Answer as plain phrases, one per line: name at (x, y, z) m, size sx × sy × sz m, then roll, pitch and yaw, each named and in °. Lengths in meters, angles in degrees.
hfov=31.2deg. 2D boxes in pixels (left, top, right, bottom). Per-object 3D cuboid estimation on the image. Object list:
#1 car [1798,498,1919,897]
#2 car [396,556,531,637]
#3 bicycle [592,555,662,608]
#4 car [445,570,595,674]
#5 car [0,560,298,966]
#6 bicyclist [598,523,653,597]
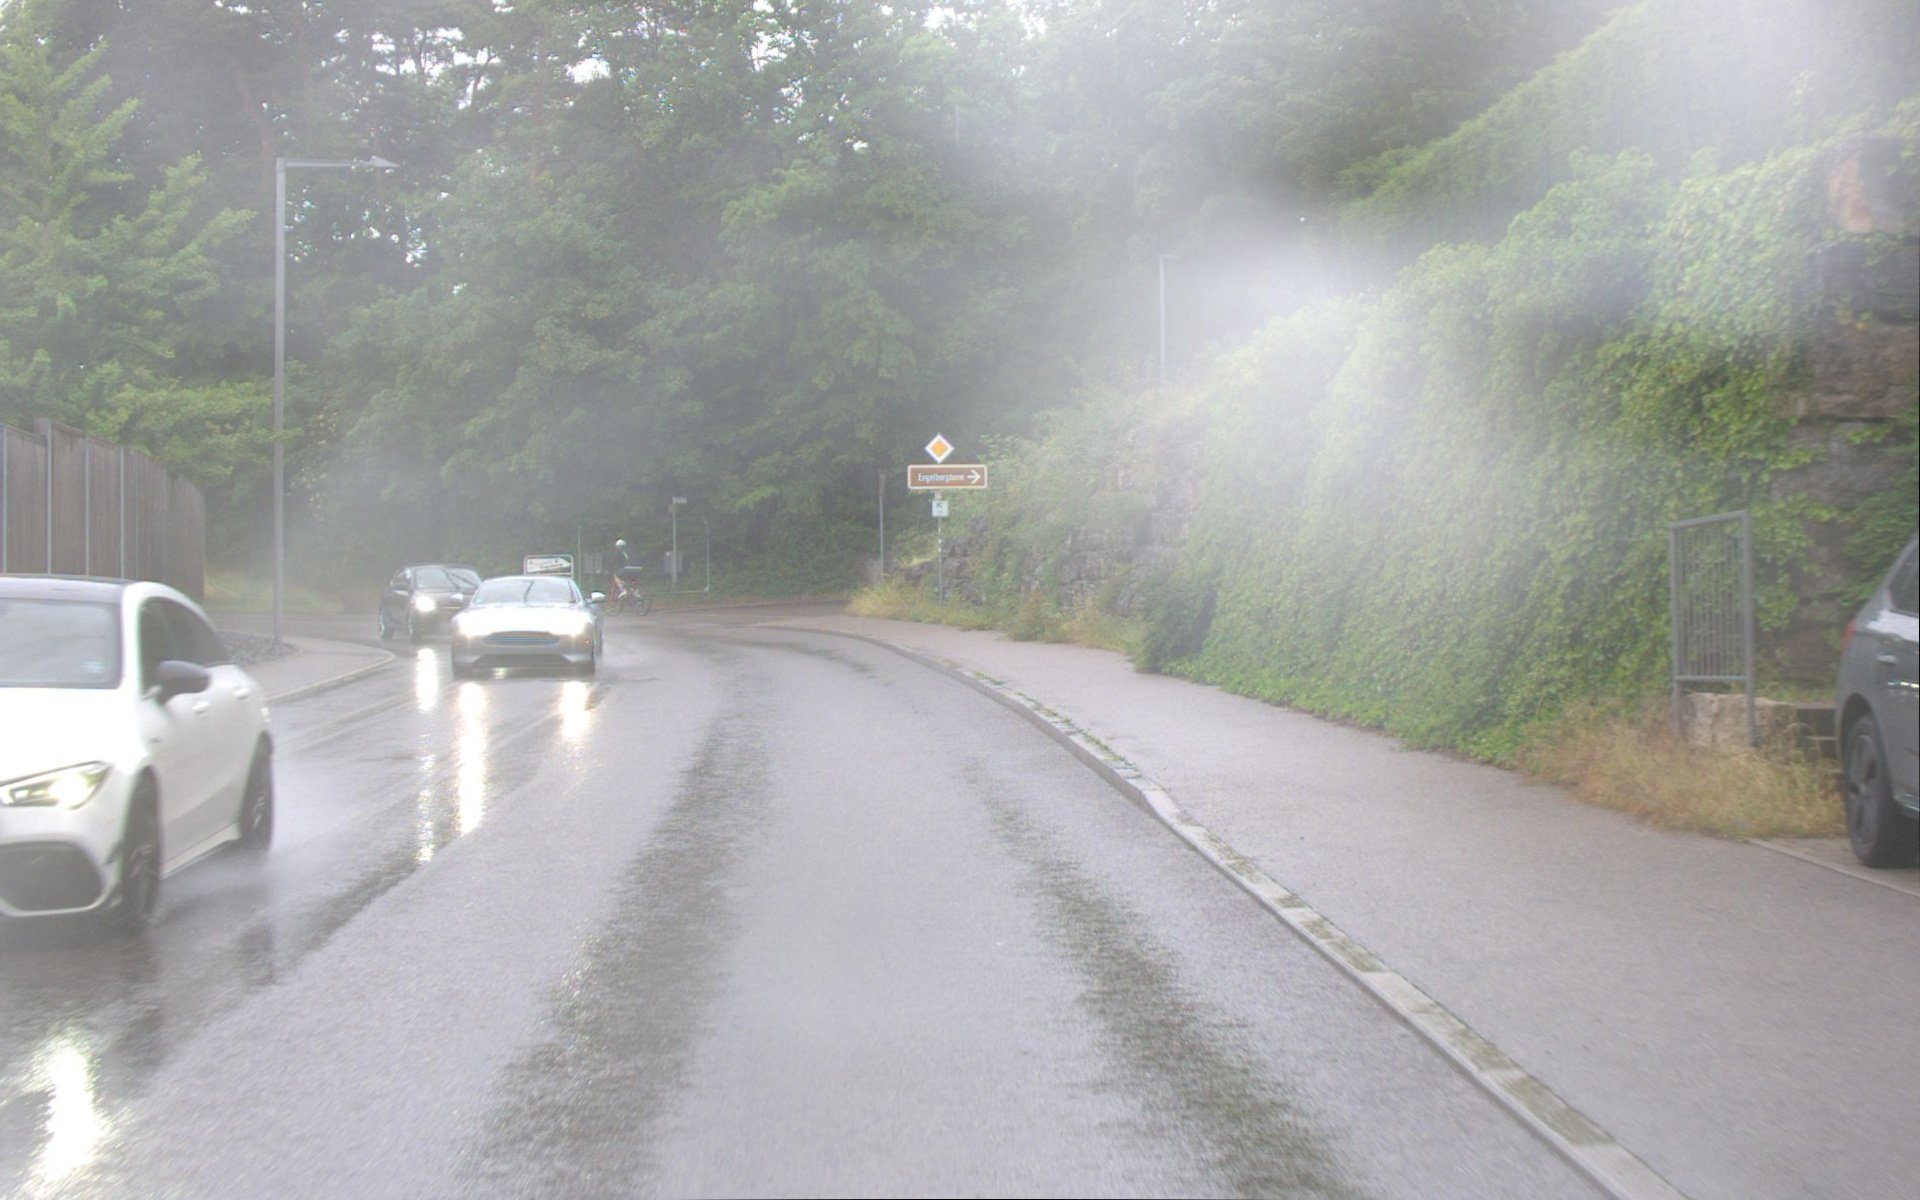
car at (4.629, 0.350, 13.021) m, size 1.810 × 1.558 × 4.011 m, roll -3°, pitch 1°, yaw -1°
car at (-9.234, -0.097, 63.725) m, size 1.881 × 1.444 × 4.210 m, roll 0°, pitch 1°, yaw -17°
bicycle at (-7.624, -0.420, 78.637) m, size 1.619 × 1.081 × 0.528 m, roll 6°, pitch 5°, yaw 38°
car at (-5.820, 0.258, 45.555) m, size 1.881 × 1.279 × 4.210 m, roll 0°, pitch 1°, yaw -7°
car at (-4.126, 0.569, 14.674) m, size 1.847 × 1.455 × 4.268 m, roll 1°, pitch 1°, yaw -1°
bicyclist at (-7.653, -0.924, 78.624) m, size 0.904 × 1.609 × 0.721 m, roll 6°, pitch 5°, yaw 37°
